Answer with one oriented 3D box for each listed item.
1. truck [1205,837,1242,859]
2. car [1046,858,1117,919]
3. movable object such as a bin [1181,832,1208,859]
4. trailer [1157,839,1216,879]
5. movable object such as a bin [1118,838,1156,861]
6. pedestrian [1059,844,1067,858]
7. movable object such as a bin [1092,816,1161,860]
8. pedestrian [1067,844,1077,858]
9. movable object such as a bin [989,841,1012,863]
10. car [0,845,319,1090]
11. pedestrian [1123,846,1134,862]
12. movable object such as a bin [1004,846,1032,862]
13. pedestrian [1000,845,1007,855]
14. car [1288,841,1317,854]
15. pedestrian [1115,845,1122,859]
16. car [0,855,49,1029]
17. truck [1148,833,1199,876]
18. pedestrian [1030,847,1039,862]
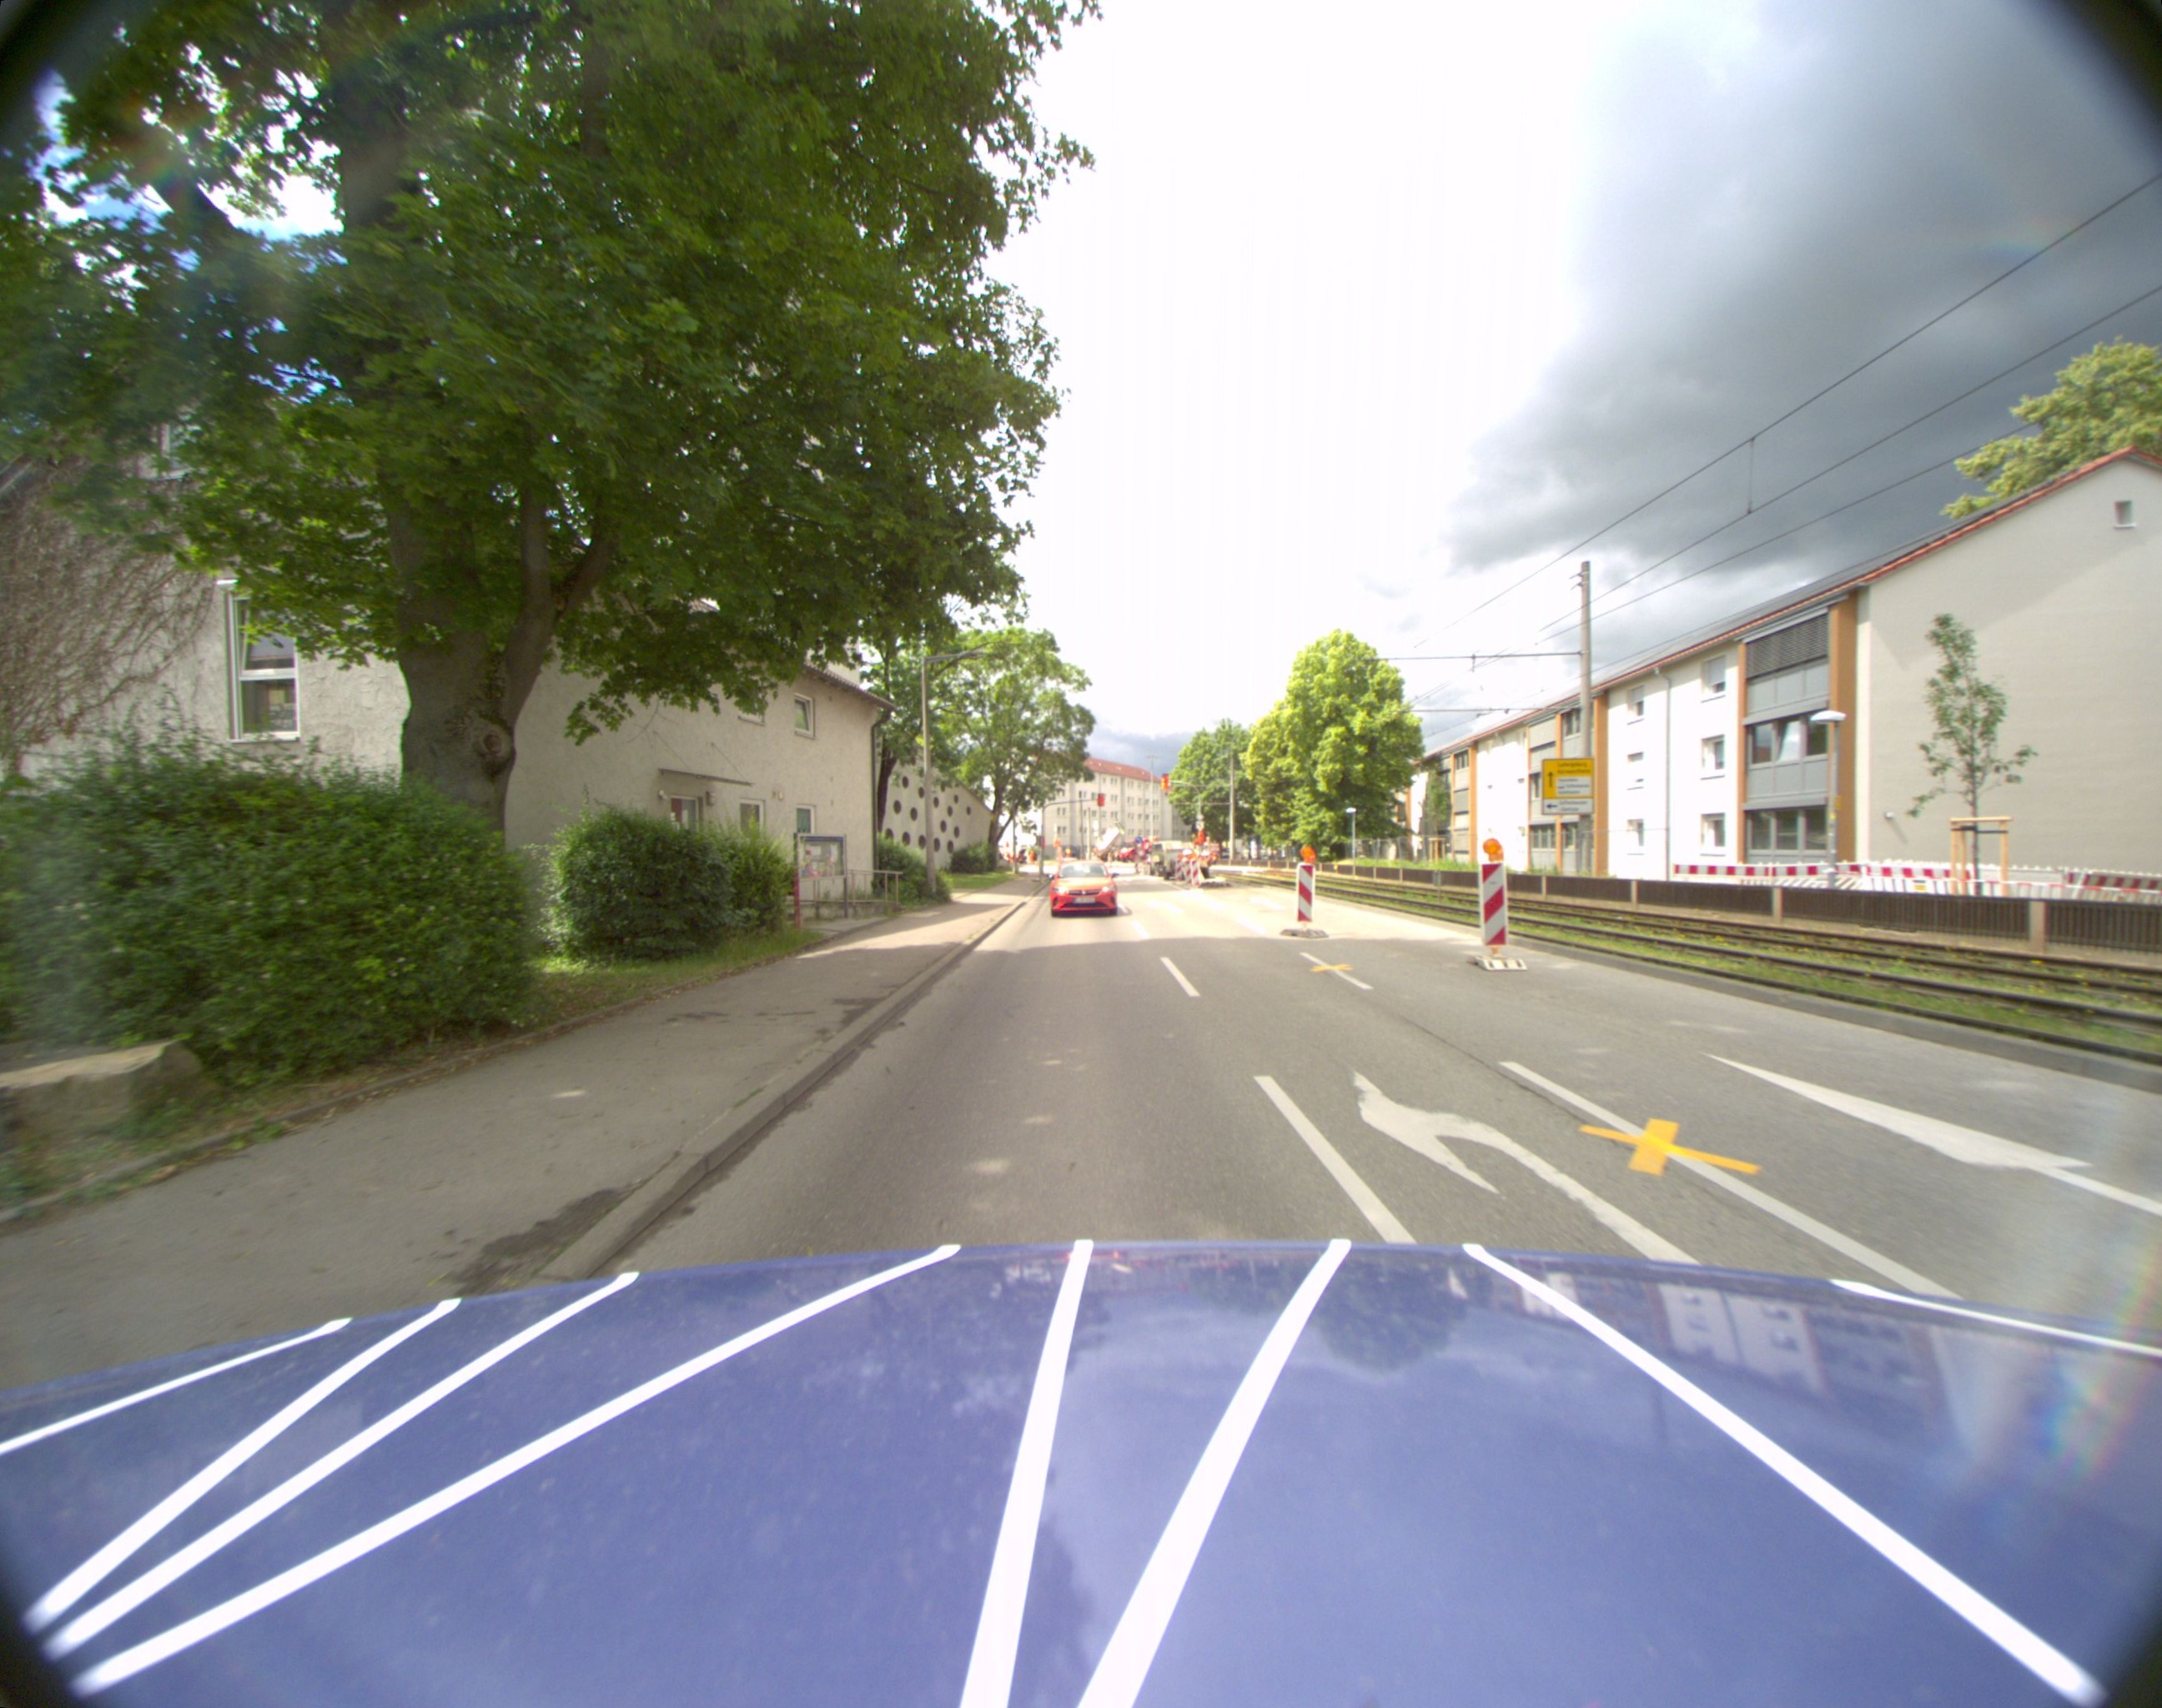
[{"bbox_3d":[17.118,-0.673,91.318,2.412,2.553,5.594,0,1,33],"label":"truck"},{"bbox_3d":[0.108,0.902,21.483,1.769,1.425,3.839,-3,0,3],"label":"car"},{"bbox_3d":[19.883,-1.467,132.894,2.819,4.509,6.221,0,0,28],"label":"movable object such as a bin"},{"bbox_3d":[6.328,0.252,46.440,2.669,2.201,6.247,-2,1,0],"label":"trailer"},{"bbox_3d":[6.844,-0.616,92.588,2.110,2.653,5.598,0,2,34],"label":"movable object such as a bin"},{"bbox_3d":[-2.407,-0.436,101.882,0.882,1.897,0.666,-2,2,-23],"label":"pedestrian"},{"bbox_3d":[6.006,-2.015,98.714,9.052,5.453,2.814,0,0,-34],"label":"movable object such as a bin"},{"bbox_3d":[-1.212,-0.372,101.302,0.872,1.813,1.098,0,1,28],"label":"pedestrian"},{"bbox_3d":[-9.574,-0.211,90.509,2.355,2.579,1.323,0,2,39],"label":"movable object such as a bin"},{"bbox_3d":[-8.168,0.765,5.076,1.815,1.640,4.002,0,1,9],"label":"car"},{"bbox_3d":[5.428,-0.004,86.910,0.797,1.822,0.969,-2,2,-32],"label":"pedestrian"},{"bbox_3d":[-8.100,-0.043,97.527,2.959,2.002,2.004,0,1,37],"label":"movable object such as a bin"},{"bbox_3d":[-9.150,-0.498,89.641,0.615,1.209,0.552,0,1,39],"label":"pedestrian"},{"bbox_3d":[25.251,-0.750,86.764,3.197,1.446,1.566,0,1,14],"label":"car"},{"bbox_3d":[4.717,-0.231,94.479,0.611,1.778,0.583,-2,0,31],"label":"pedestrian"},{"bbox_3d":[-10.807,0.819,5.229,1.815,1.574,4.001,0,1,4],"label":"car"},{"bbox_3d":[6.331,-0.011,52.747,2.669,2.709,6.394,-2,1,0],"label":"truck"},{"bbox_3d":[-5.917,0.045,96.188,0.767,1.828,0.785,0,1,26],"label":"pedestrian"}]
